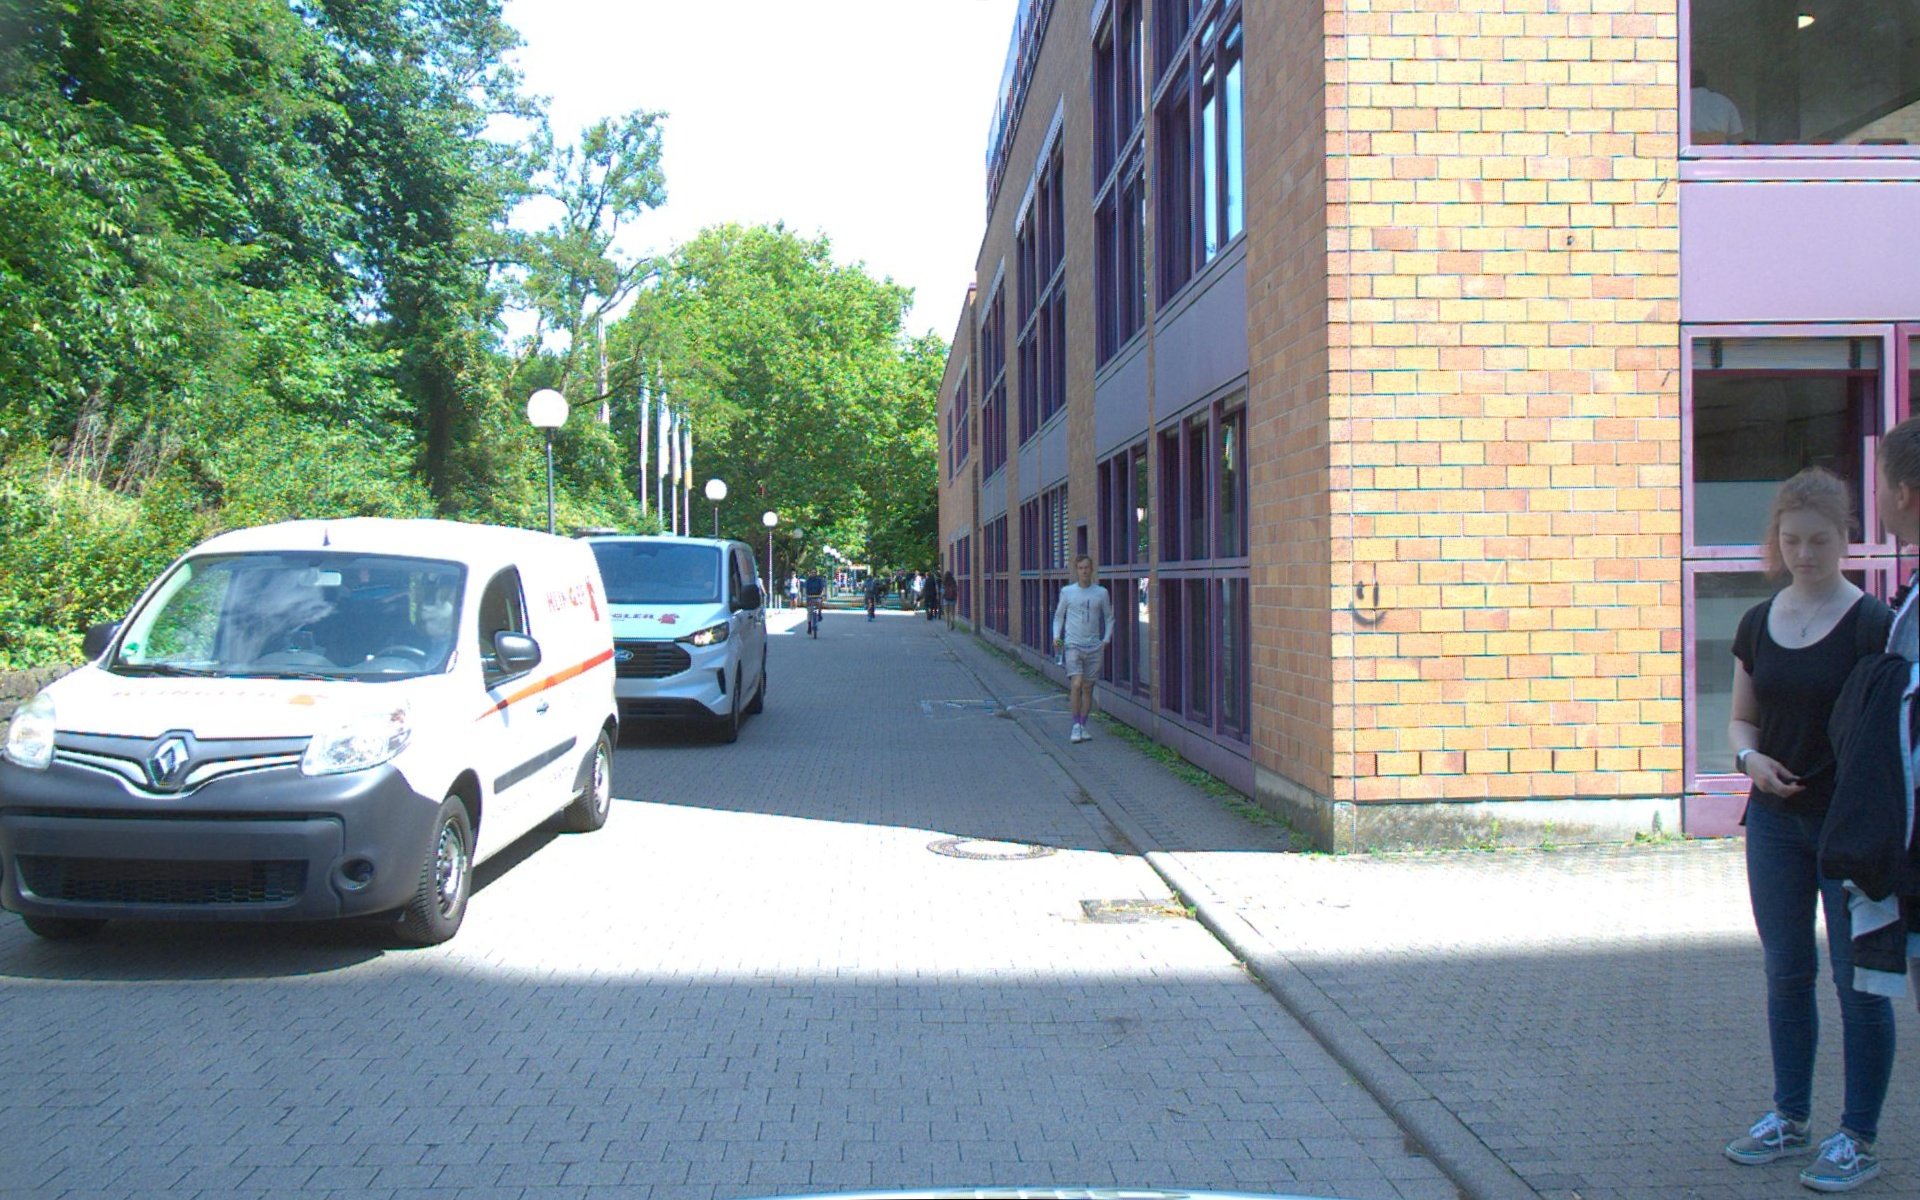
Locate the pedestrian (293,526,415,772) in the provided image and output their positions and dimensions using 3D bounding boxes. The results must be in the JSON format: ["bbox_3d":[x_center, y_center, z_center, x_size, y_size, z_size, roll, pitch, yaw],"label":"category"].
[{"bbox_3d":[-4.773,0.380,13.066,0.669,1.876,0.782,1,-1,-3],"label":"pedestrian"}]

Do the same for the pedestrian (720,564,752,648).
[{"bbox_3d":[-4.872,0.124,35.999,0.574,1.796,0.698,-1,-1,-1],"label":"pedestrian"}]

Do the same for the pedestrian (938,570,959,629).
[{"bbox_3d":[-0.347,-0.020,48.608,0.574,1.702,0.698,-1,-1,-1],"label":"pedestrian"}]

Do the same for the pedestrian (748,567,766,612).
[{"bbox_3d":[-7.707,-0.403,62.906,0.574,1.702,0.698,-1,-1,-1],"label":"pedestrian"}]

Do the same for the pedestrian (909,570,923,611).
[{"bbox_3d":[-2.159,-0.460,81.441,0.640,1.956,0.817,-1,-1,-1],"label":"pedestrian"}]

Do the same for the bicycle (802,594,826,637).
[{"bbox_3d":[-3.798,0.392,42.934,0.575,1.102,1.811,0,0,-6],"label":"bicycle"}]

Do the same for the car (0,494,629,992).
[{"bbox_3d":[-2.952,0.494,8.229,1.754,1.792,4.481,0,1,-1],"label":"car"}]

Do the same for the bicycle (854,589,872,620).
[{"bbox_3d":[-3.546,0.158,60.678,0.575,1.102,1.905,0,0,-6],"label":"bicycle"}]

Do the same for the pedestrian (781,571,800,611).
[{"bbox_3d":[-7.322,-0.368,71.547,0.710,1.702,0.748,-1,-1,-1],"label":"pedestrian"}]

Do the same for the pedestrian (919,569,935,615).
[{"bbox_3d":[-1.233,-0.292,62.170,0.574,1.702,0.817,-1,-1,-1],"label":"pedestrian"}]

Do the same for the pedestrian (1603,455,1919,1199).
[{"bbox_3d":[2.048,0.526,4.077,0.682,1.702,0.588,-1,-1,5],"label":"pedestrian"}]

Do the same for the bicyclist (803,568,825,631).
[{"bbox_3d":[-3.790,-0.015,42.902,0.575,1.600,0.828,0,0,-6],"label":"bicyclist"}]

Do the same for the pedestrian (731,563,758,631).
[{"bbox_3d":[-5.438,-0.068,41.783,0.574,1.702,0.698,-1,-1,-1],"label":"pedestrian"}]

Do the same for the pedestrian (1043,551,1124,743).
[{"bbox_3d":[1.169,0.438,15.741,0.669,1.778,0.782,1,-1,-3],"label":"pedestrian"}]

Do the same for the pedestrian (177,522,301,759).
[{"bbox_3d":[-5.880,0.322,13.527,0.669,1.876,0.782,1,-1,-3],"label":"pedestrian"}]

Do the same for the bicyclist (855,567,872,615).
[{"bbox_3d":[-3.548,-0.340,60.685,0.575,1.746,0.664,0,0,-6],"label":"bicyclist"}]

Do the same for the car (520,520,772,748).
[{"bbox_3d":[-3.058,0.273,17.172,1.846,2.008,5.212,0,1,-3],"label":"car"}]

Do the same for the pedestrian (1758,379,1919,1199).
[{"bbox_3d":[2.186,0.484,3.428,0.750,1.826,0.588,-1,-1,5],"label":"pedestrian"}]

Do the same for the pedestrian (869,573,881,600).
[{"bbox_3d":[-5.427,-0.837,105.248,0.710,1.702,0.748,-1,-1,-1],"label":"pedestrian"}]

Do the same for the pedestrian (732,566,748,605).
[{"bbox_3d":[-9.599,-0.635,72.231,0.574,1.702,0.698,-1,-1,-1],"label":"pedestrian"}]
